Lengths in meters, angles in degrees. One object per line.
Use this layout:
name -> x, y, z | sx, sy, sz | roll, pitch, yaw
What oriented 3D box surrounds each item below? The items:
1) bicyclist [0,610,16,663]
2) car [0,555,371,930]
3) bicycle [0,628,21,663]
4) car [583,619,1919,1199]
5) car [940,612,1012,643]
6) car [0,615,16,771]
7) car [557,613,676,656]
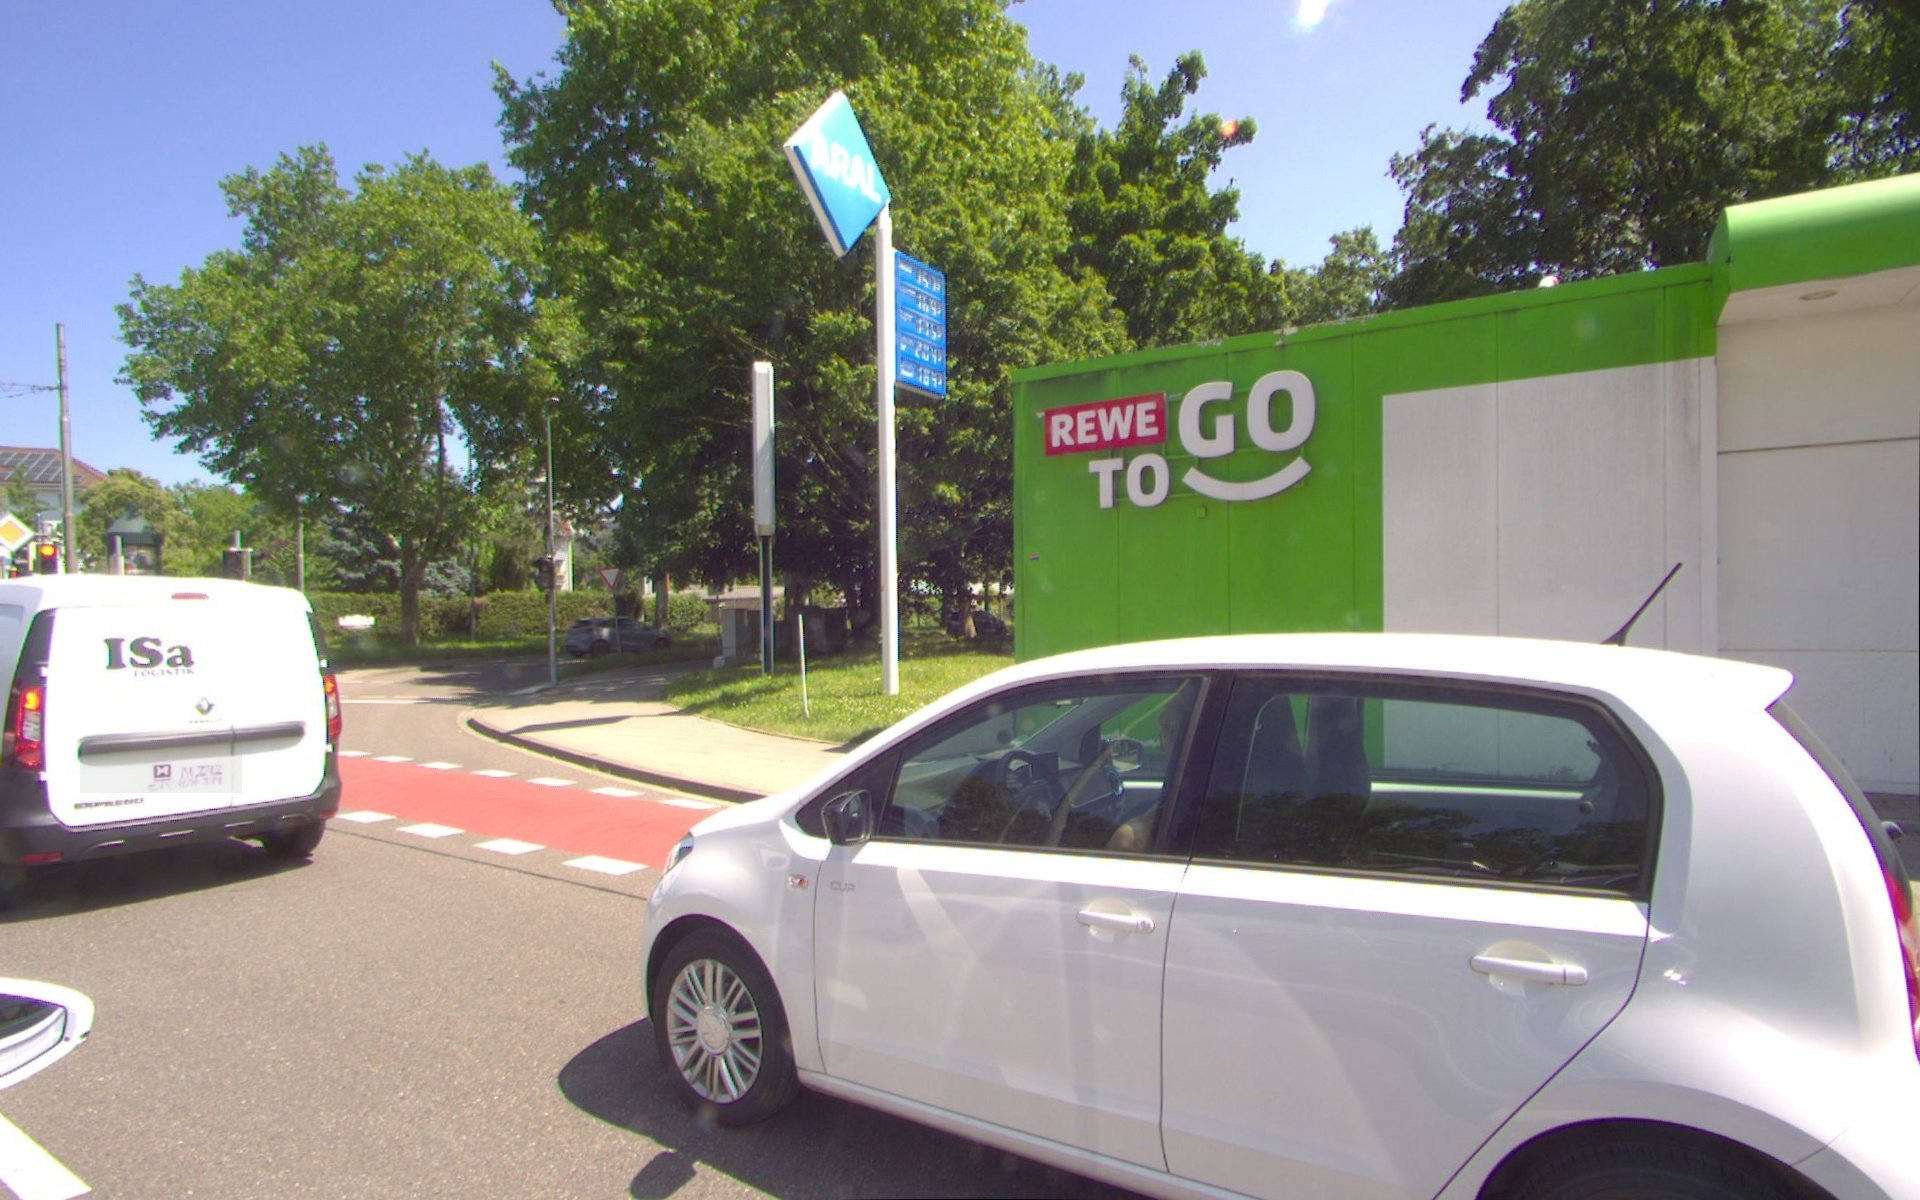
bicyclist -> -33.416, 1.259, 34.577 | 0.714, 1.811, 0.973 | -1, 0, 24
car -> -5.881, 0.745, 6.641 | 4.005, 1.811, 1.725 | -1, -2, 31
bicycle -> -33.464, 1.576, 34.531 | 1.924, 1.174, 0.892 | -1, 0, 24
car -> 0.635, 0.810, 2.993 | 3.387, 1.466, 1.606 | 0, -1, 33
car -> 0.891, 1.516, 54.900 | 3.963, 1.617, 1.682 | 2, -1, -45
car -> -11.903, 0.939, 10.624 | 3.943, 1.589, 1.832 | 0, -1, 32
car -> -13.012, 1.269, 38.097 | 1.733, 1.539, 3.968 | -2, -1, 41
